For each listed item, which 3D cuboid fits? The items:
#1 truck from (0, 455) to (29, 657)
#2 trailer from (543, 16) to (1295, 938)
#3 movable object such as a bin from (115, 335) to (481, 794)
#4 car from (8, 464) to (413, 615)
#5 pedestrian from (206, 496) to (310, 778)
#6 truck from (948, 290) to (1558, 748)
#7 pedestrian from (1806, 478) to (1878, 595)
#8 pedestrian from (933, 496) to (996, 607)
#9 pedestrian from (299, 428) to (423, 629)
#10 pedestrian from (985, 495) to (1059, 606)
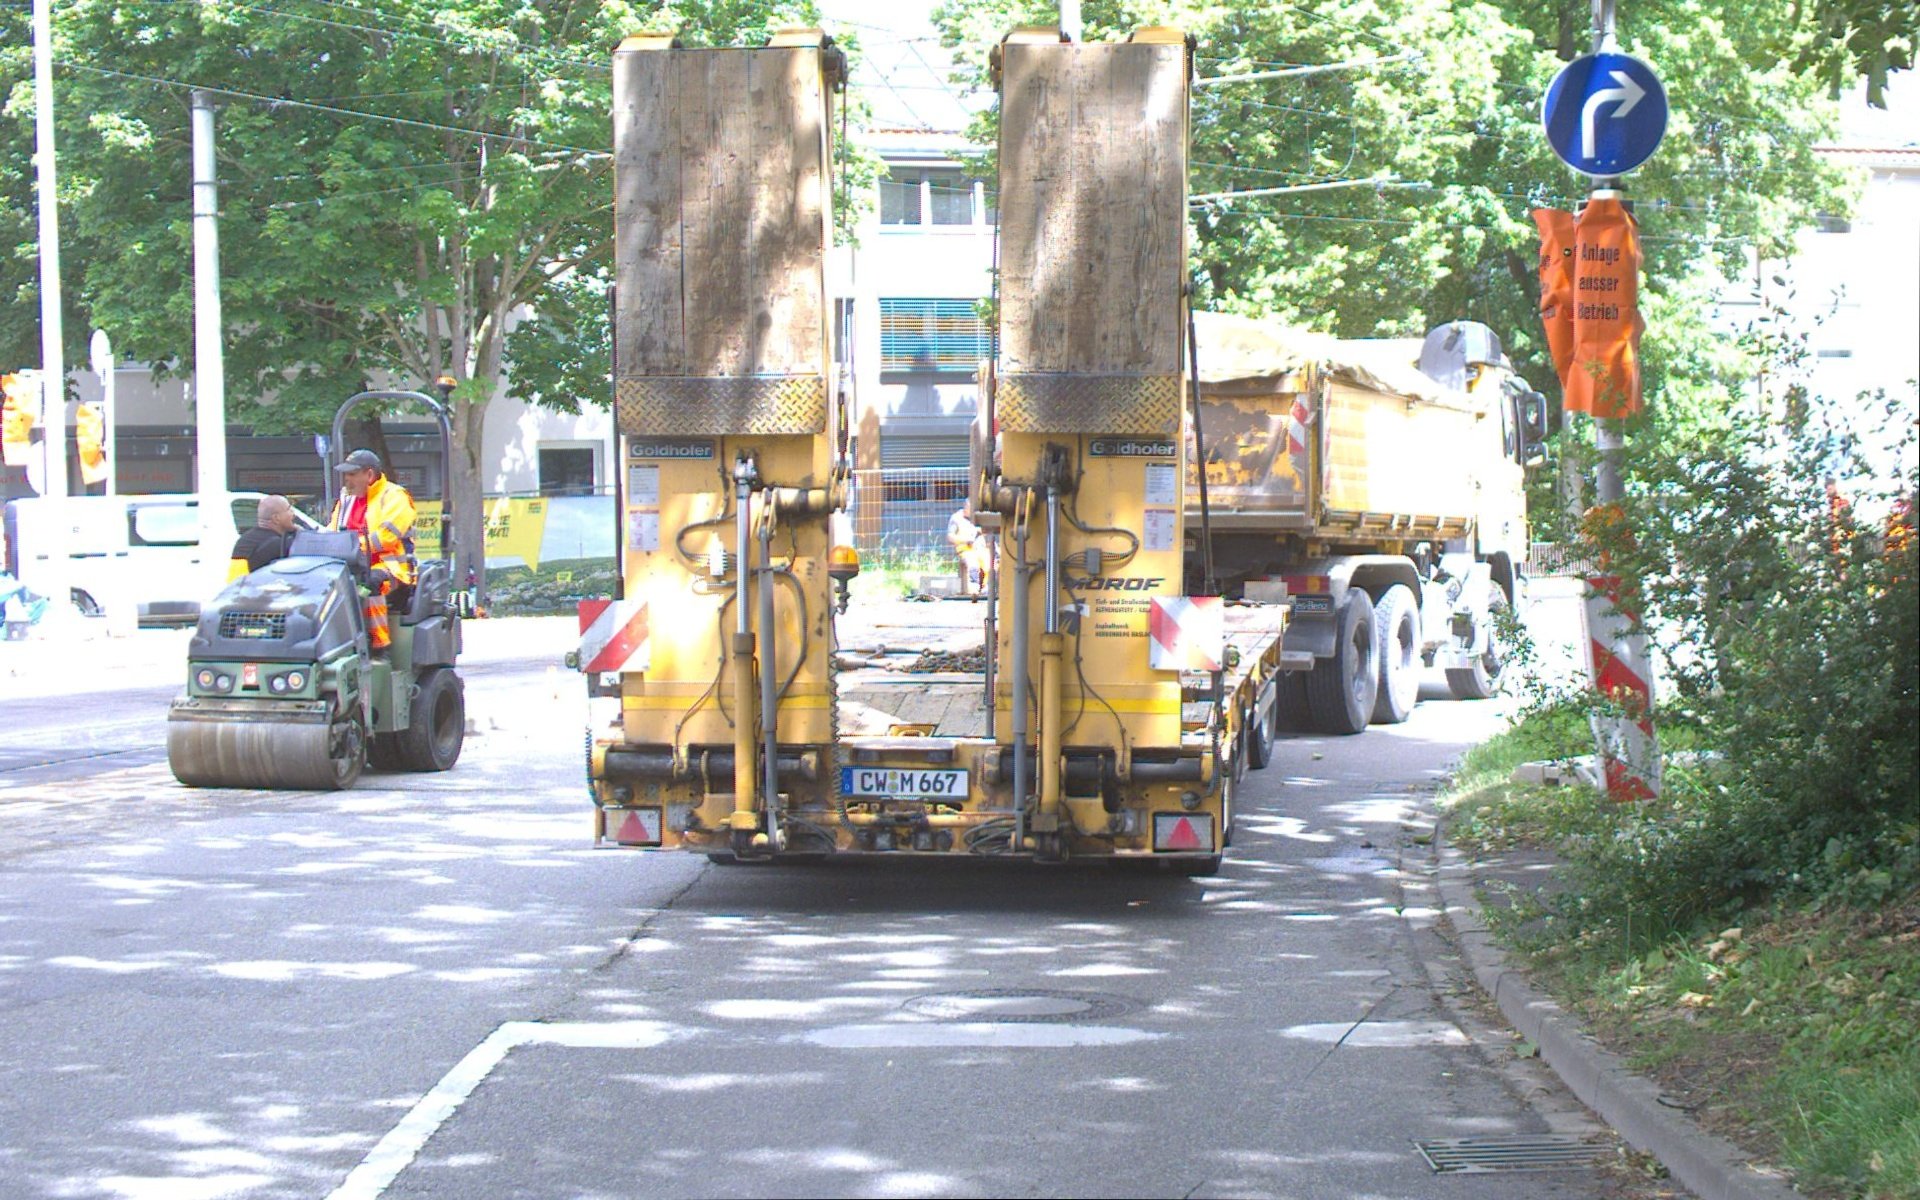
[{"bbox_3d":[-14.962,-0.411,43.440,5.566,2.559,2.419,-3,1,5],"label":"truck"},{"bbox_3d":[0.356,-0.617,18.793,2.823,3.512,11.050,1,1,6],"label":"trailer"},{"bbox_3d":[-3.916,-0.236,20.627,1.317,2.584,2.361,0,2,12],"label":"movable object such as a bin"},{"bbox_3d":[-10.215,-0.820,46.840,5.232,1.881,2.000,-2,0,-15],"label":"car"},{"bbox_3d":[-4.250,0.214,20.838,0.469,1.676,0.559,1,1,3],"label":"pedestrian"},{"bbox_3d":[2.640,-0.686,27.812,2.920,3.156,7.672,1,2,21],"label":"truck"},{"bbox_3d":[12.775,-0.916,49.776,0.706,1.662,0.826,1,1,40],"label":"pedestrian"},{"bbox_3d":[0.058,-0.686,48.197,0.760,1.535,0.798,-1,1,-6],"label":"pedestrian"},{"bbox_3d":[-3.695,-0.444,21.246,0.549,1.212,0.617,-1,1,10],"label":"pedestrian"},{"bbox_3d":[0.862,-0.699,48.316,0.905,1.527,0.841,-1,1,-6],"label":"pedestrian"}]
